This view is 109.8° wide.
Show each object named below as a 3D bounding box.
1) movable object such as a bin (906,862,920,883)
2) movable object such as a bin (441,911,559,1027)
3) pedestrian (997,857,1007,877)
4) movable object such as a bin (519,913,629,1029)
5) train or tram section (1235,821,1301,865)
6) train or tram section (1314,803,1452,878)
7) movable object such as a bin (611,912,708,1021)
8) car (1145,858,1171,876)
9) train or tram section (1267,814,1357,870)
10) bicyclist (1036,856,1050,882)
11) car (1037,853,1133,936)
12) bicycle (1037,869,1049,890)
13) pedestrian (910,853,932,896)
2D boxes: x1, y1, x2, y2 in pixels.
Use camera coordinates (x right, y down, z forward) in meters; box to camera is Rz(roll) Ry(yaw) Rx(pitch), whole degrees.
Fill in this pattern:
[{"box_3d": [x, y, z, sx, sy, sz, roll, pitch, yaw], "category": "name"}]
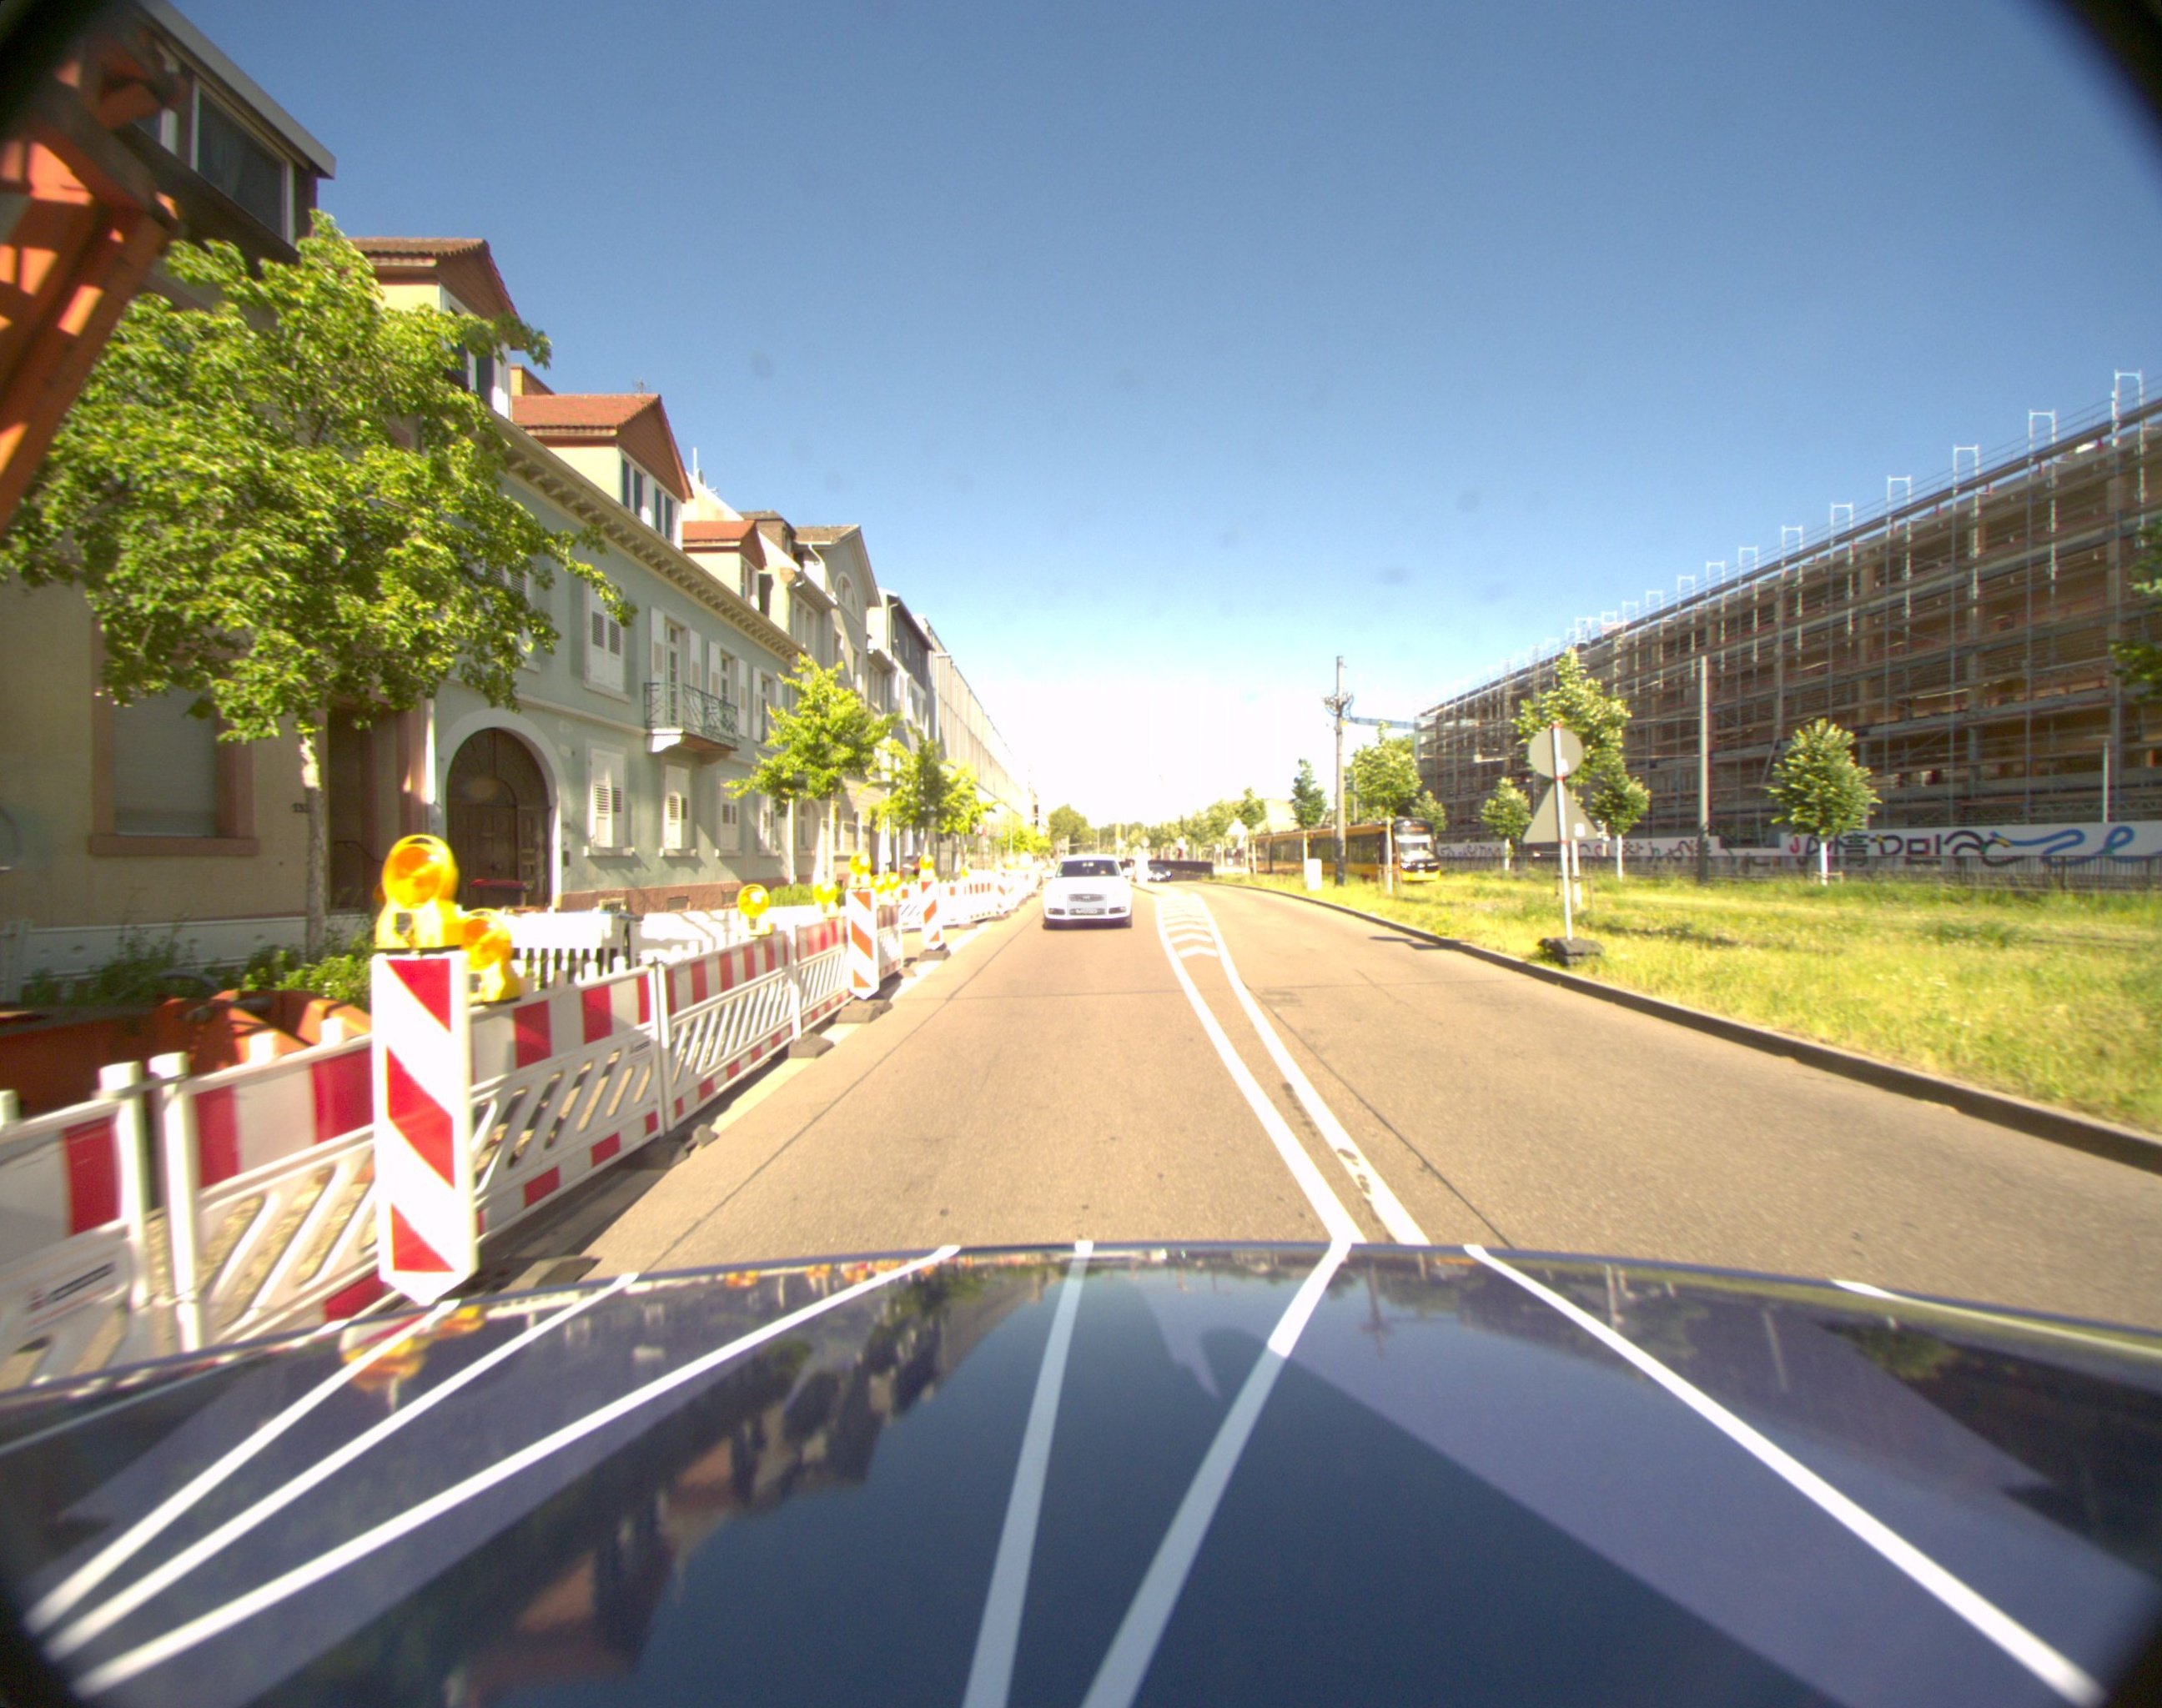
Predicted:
[{"box_3d": [-9.226, 0.994, 41.672, 0.589, 1.101, 0.703, -1, 0, 1], "category": "movable object such as a bin"}, {"box_3d": [-5.978, 1.164, 7.863, 0.589, 1.051, 0.783, 4, 0, -4], "category": "movable object such as a bin"}, {"box_3d": [-8.011, 1.298, 77.308, 0.877, 1.914, 0.895, 2, 3, 0], "category": "pedestrian"}, {"box_3d": [-5.173, 1.169, 7.794, 0.597, 1.052, 0.730, 3, 1, 1], "category": "movable object such as a bin"}, {"box_3d": [16.642, -0.956, 68.700, 2.822, 3.617, 12.787, -1, 1, 0], "category": "train or tram section"}, {"box_3d": [16.581, -0.719, 43.195, 2.822, 3.617, 12.787, -1, 1, 0], "category": "train or tram section"}, {"box_3d": [-4.496, 1.181, 8.152, 0.589, 1.052, 0.730, -2, 0, 1], "category": "movable object such as a bin"}, {"box_3d": [6.396, 1.065, 63.487, 1.927, 1.435, 4.177, -1, 0, 2], "category": "car"}, {"box_3d": [16.625, -0.848, 55.956, 2.822, 3.617, 12.787, -1, 1, 0], "category": "train or tram section"}, {"box_3d": [-2.191, 0.864, 43.591, 0.755, 1.454, 0.587, -2, 1, -5], "category": "bicyclist"}, {"box_3d": [0.181, 0.830, 17.669, 1.934, 1.624, 4.000, -2, 0, 3], "category": "car"}, {"box_3d": [-2.186, 1.447, 43.597, 0.610, 1.144, 1.986, -2, 1, -5], "category": "bicycle"}, {"box_3d": [-7.413, 0.943, 35.128, 0.796, 1.917, 0.769, -2, 1, -23], "category": "pedestrian"}]
